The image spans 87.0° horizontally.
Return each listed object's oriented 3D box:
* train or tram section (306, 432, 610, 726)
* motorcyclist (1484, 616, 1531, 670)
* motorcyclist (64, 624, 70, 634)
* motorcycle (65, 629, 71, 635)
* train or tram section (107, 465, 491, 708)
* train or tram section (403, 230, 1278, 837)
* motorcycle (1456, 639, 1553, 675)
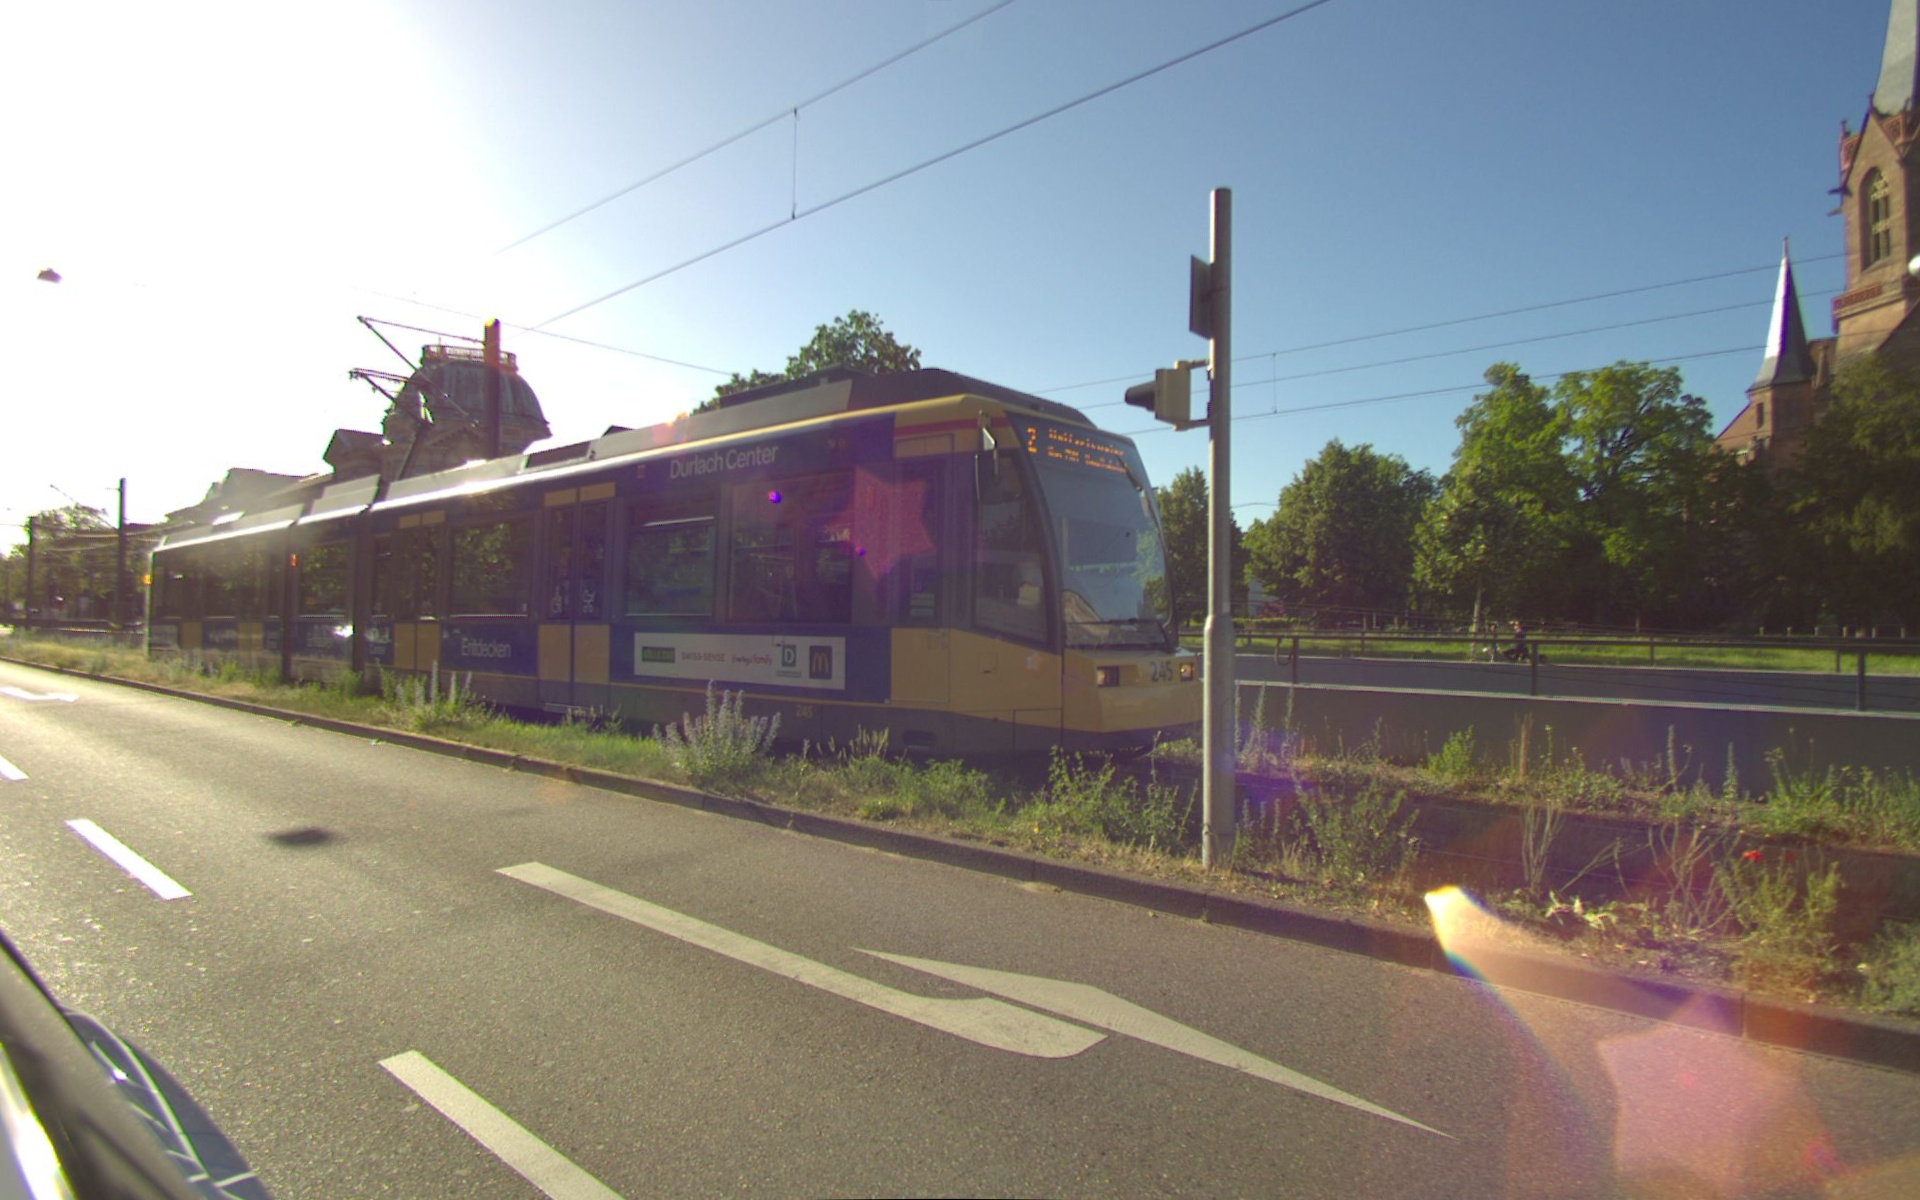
[{"bbox_3d":[-7.908,-0.278,15.911,3.862,3.926,2.925,-1,0,40],"label":"train or tram section"},{"bbox_3d":[14.246,1.104,26.341,0.874,1.348,0.873,-1,0,42],"label":"motorcyclist"},{"bbox_3d":[-110.880,3.624,125.668,0.691,1.267,0.508,-1,0,45],"label":"motorcyclist"},{"bbox_3d":[-110.814,3.961,125.690,1.522,0.789,0.364,-1,0,43],"label":"motorcycle"},{"bbox_3d":[-14.851,-0.141,21.717,14.262,3.841,2.899,-1,0,40],"label":"train or tram section"},{"bbox_3d":[-2.325,-0.378,11.151,10.793,3.926,2.923,-1,0,40],"label":"train or tram section"},{"bbox_3d":[14.153,1.474,26.351,2.144,0.856,0.508,-1,0,43],"label":"motorcycle"}]
